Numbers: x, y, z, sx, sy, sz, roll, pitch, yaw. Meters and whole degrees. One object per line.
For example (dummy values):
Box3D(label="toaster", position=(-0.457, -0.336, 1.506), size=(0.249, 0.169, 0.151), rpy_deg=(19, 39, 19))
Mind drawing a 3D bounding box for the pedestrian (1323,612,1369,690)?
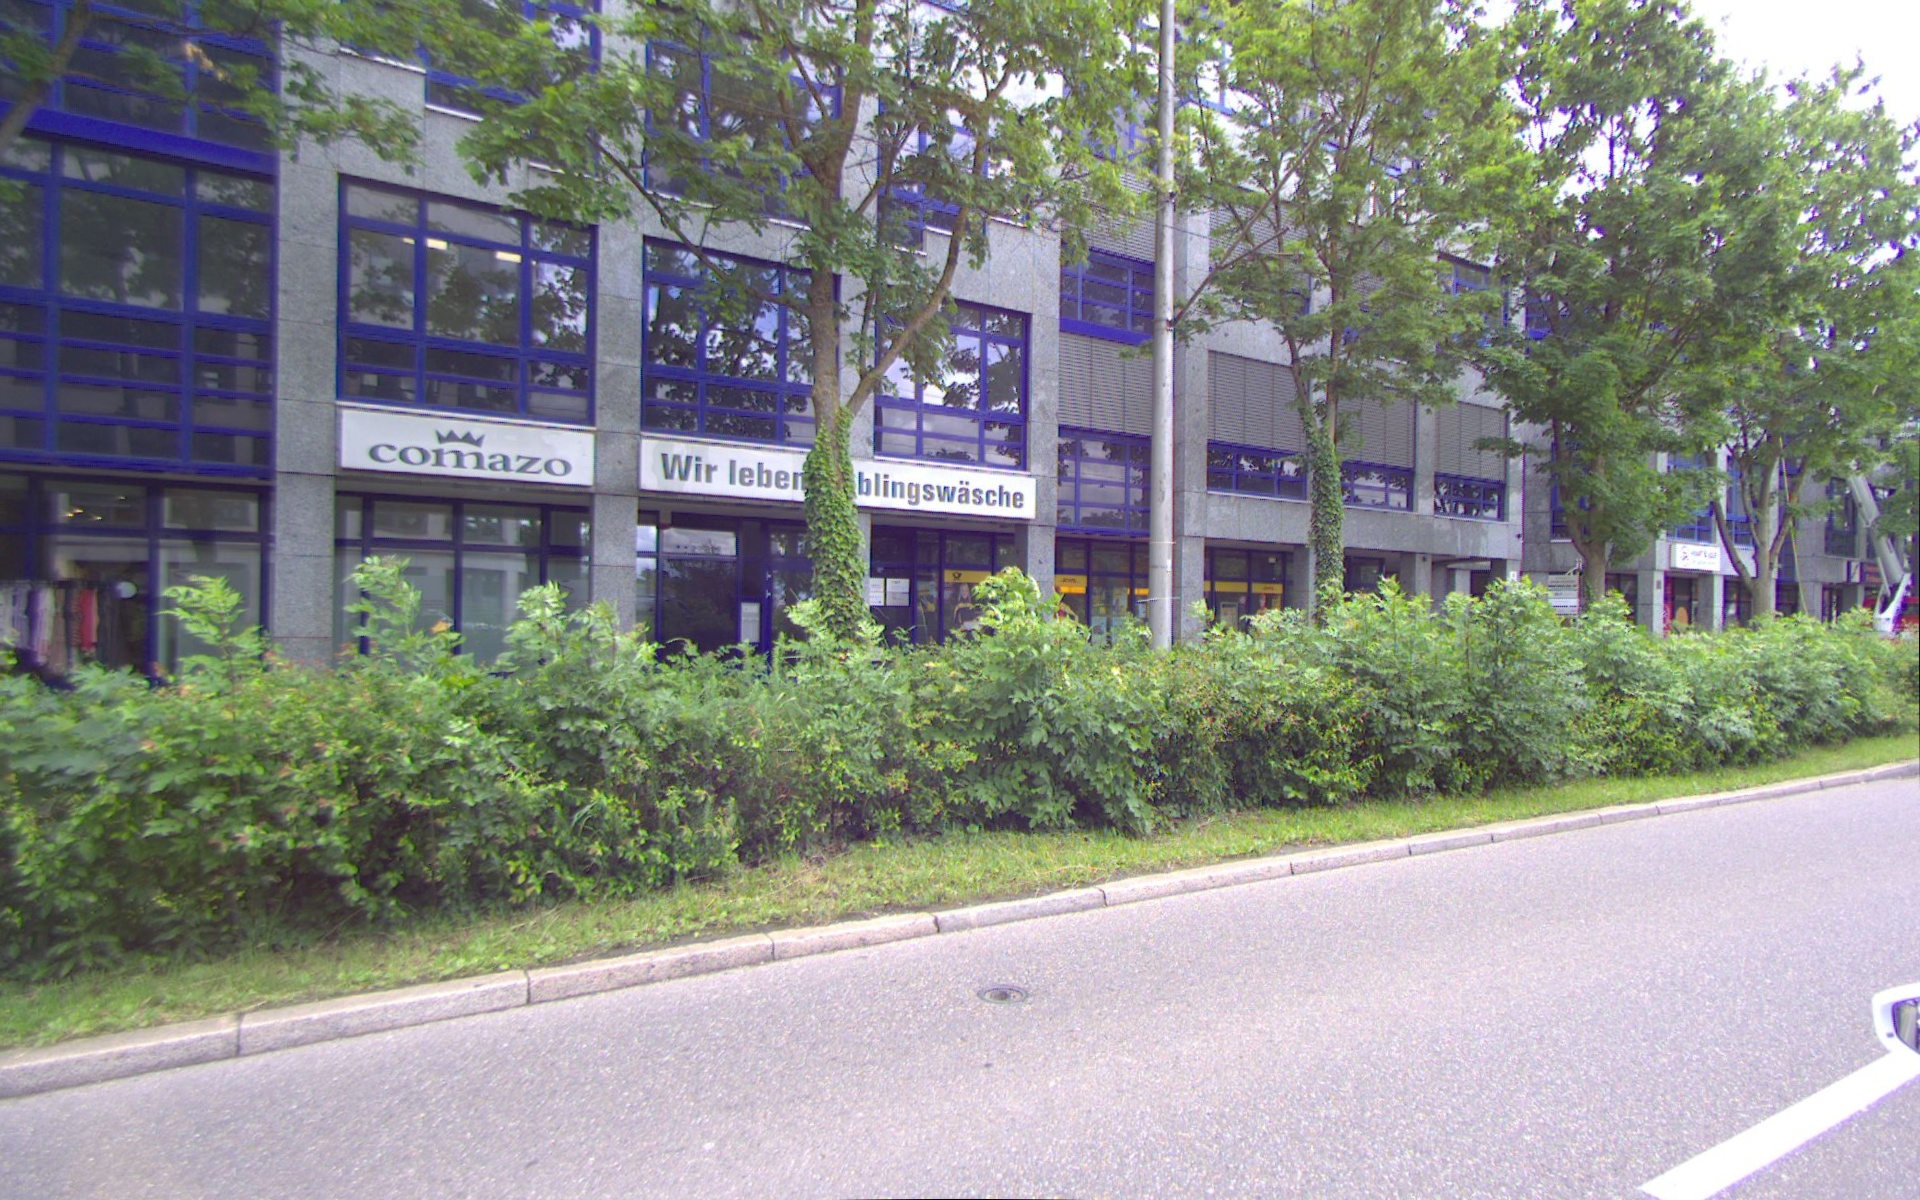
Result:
Box3D(label="pedestrian", position=(9.674, 1.269, 25.184), size=(0.723, 1.919, 0.771), rpy_deg=(2, 0, -30))
